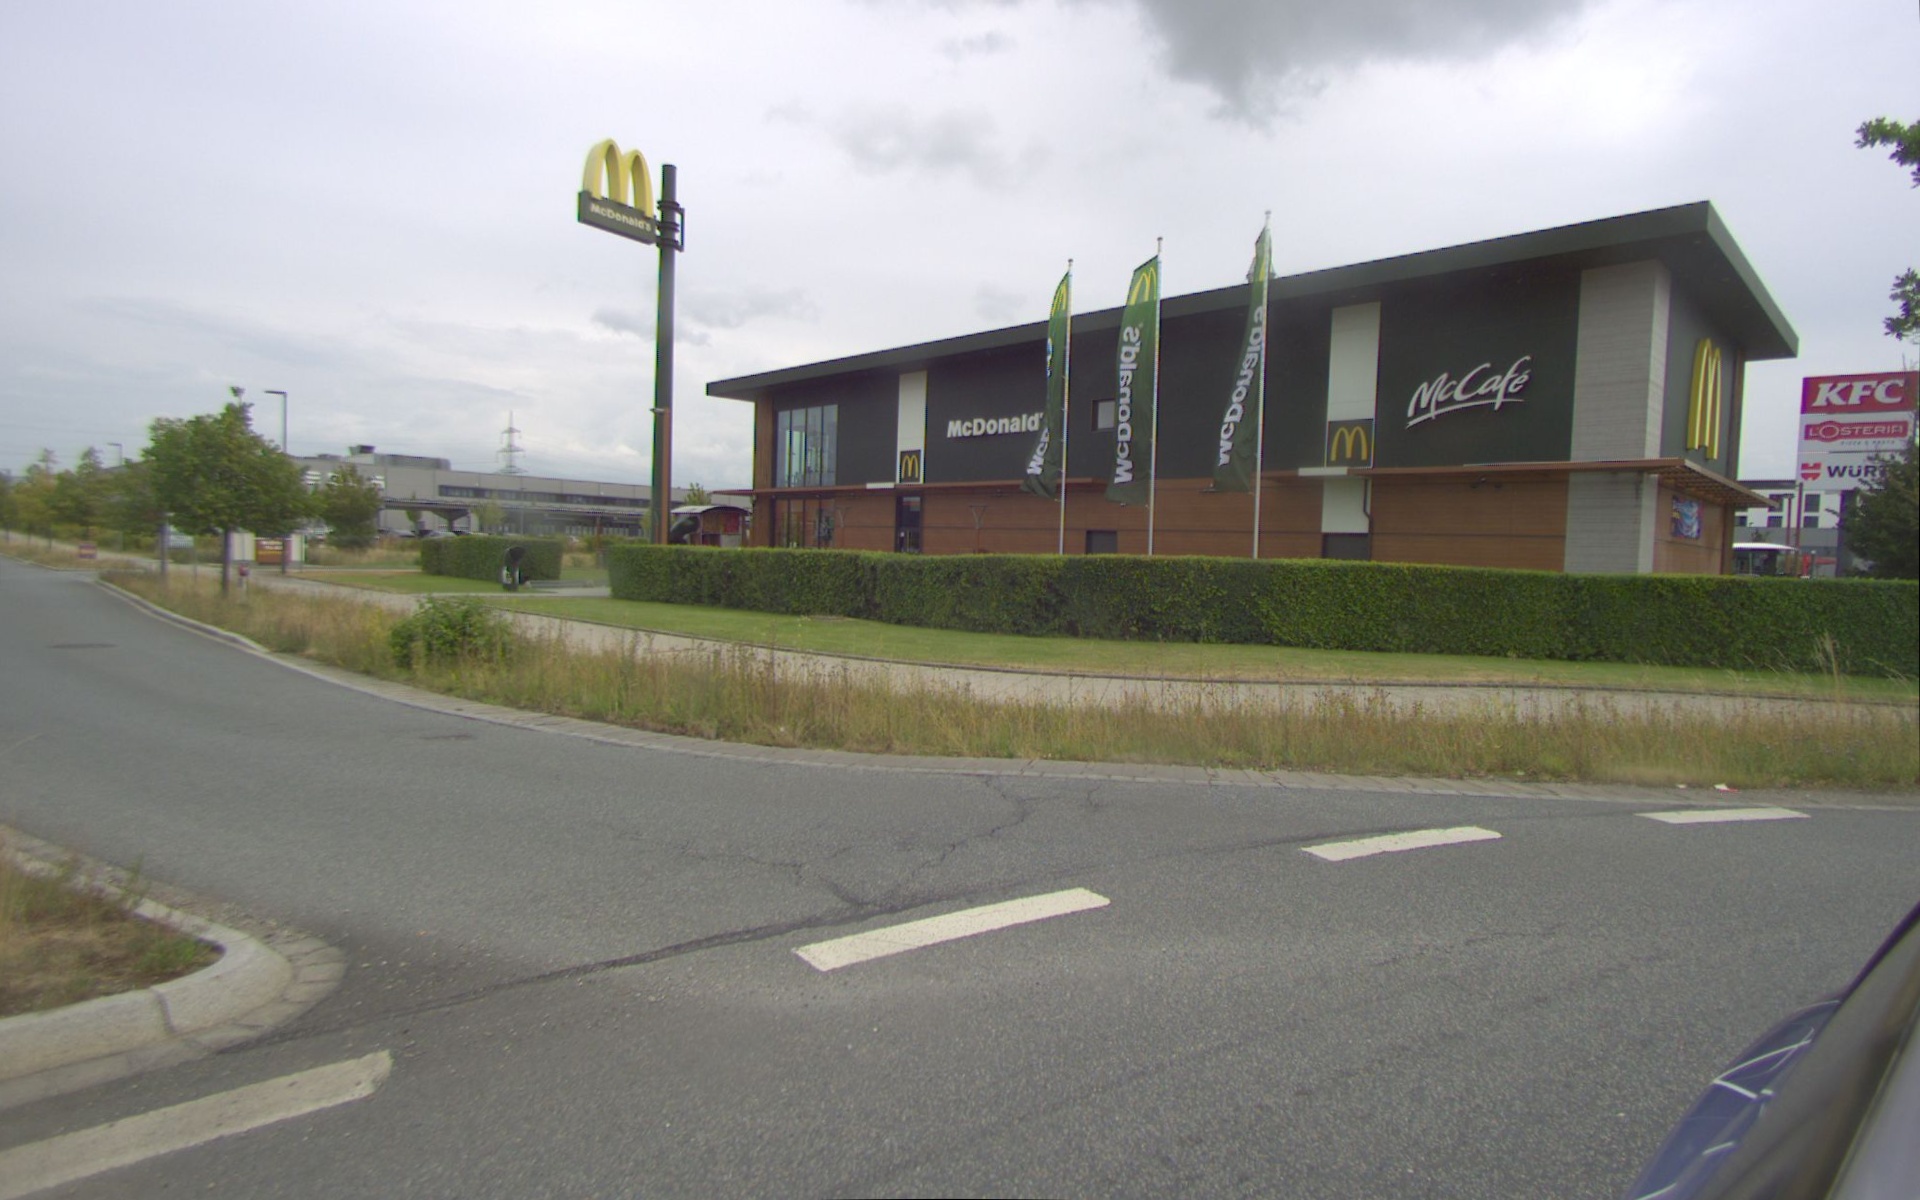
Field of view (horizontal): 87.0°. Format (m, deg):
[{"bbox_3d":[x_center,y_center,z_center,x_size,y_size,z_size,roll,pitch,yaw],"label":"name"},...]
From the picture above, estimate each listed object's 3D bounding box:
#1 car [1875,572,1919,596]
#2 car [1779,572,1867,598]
[{"bbox_3d":[68.184,-1.116,72.202,1.813,1.540,4.000,-1,4,-37],"label":"car"},{"bbox_3d":[52.659,-0.944,61.823,3.984,1.504,1.820,2,3,41],"label":"car"}]
